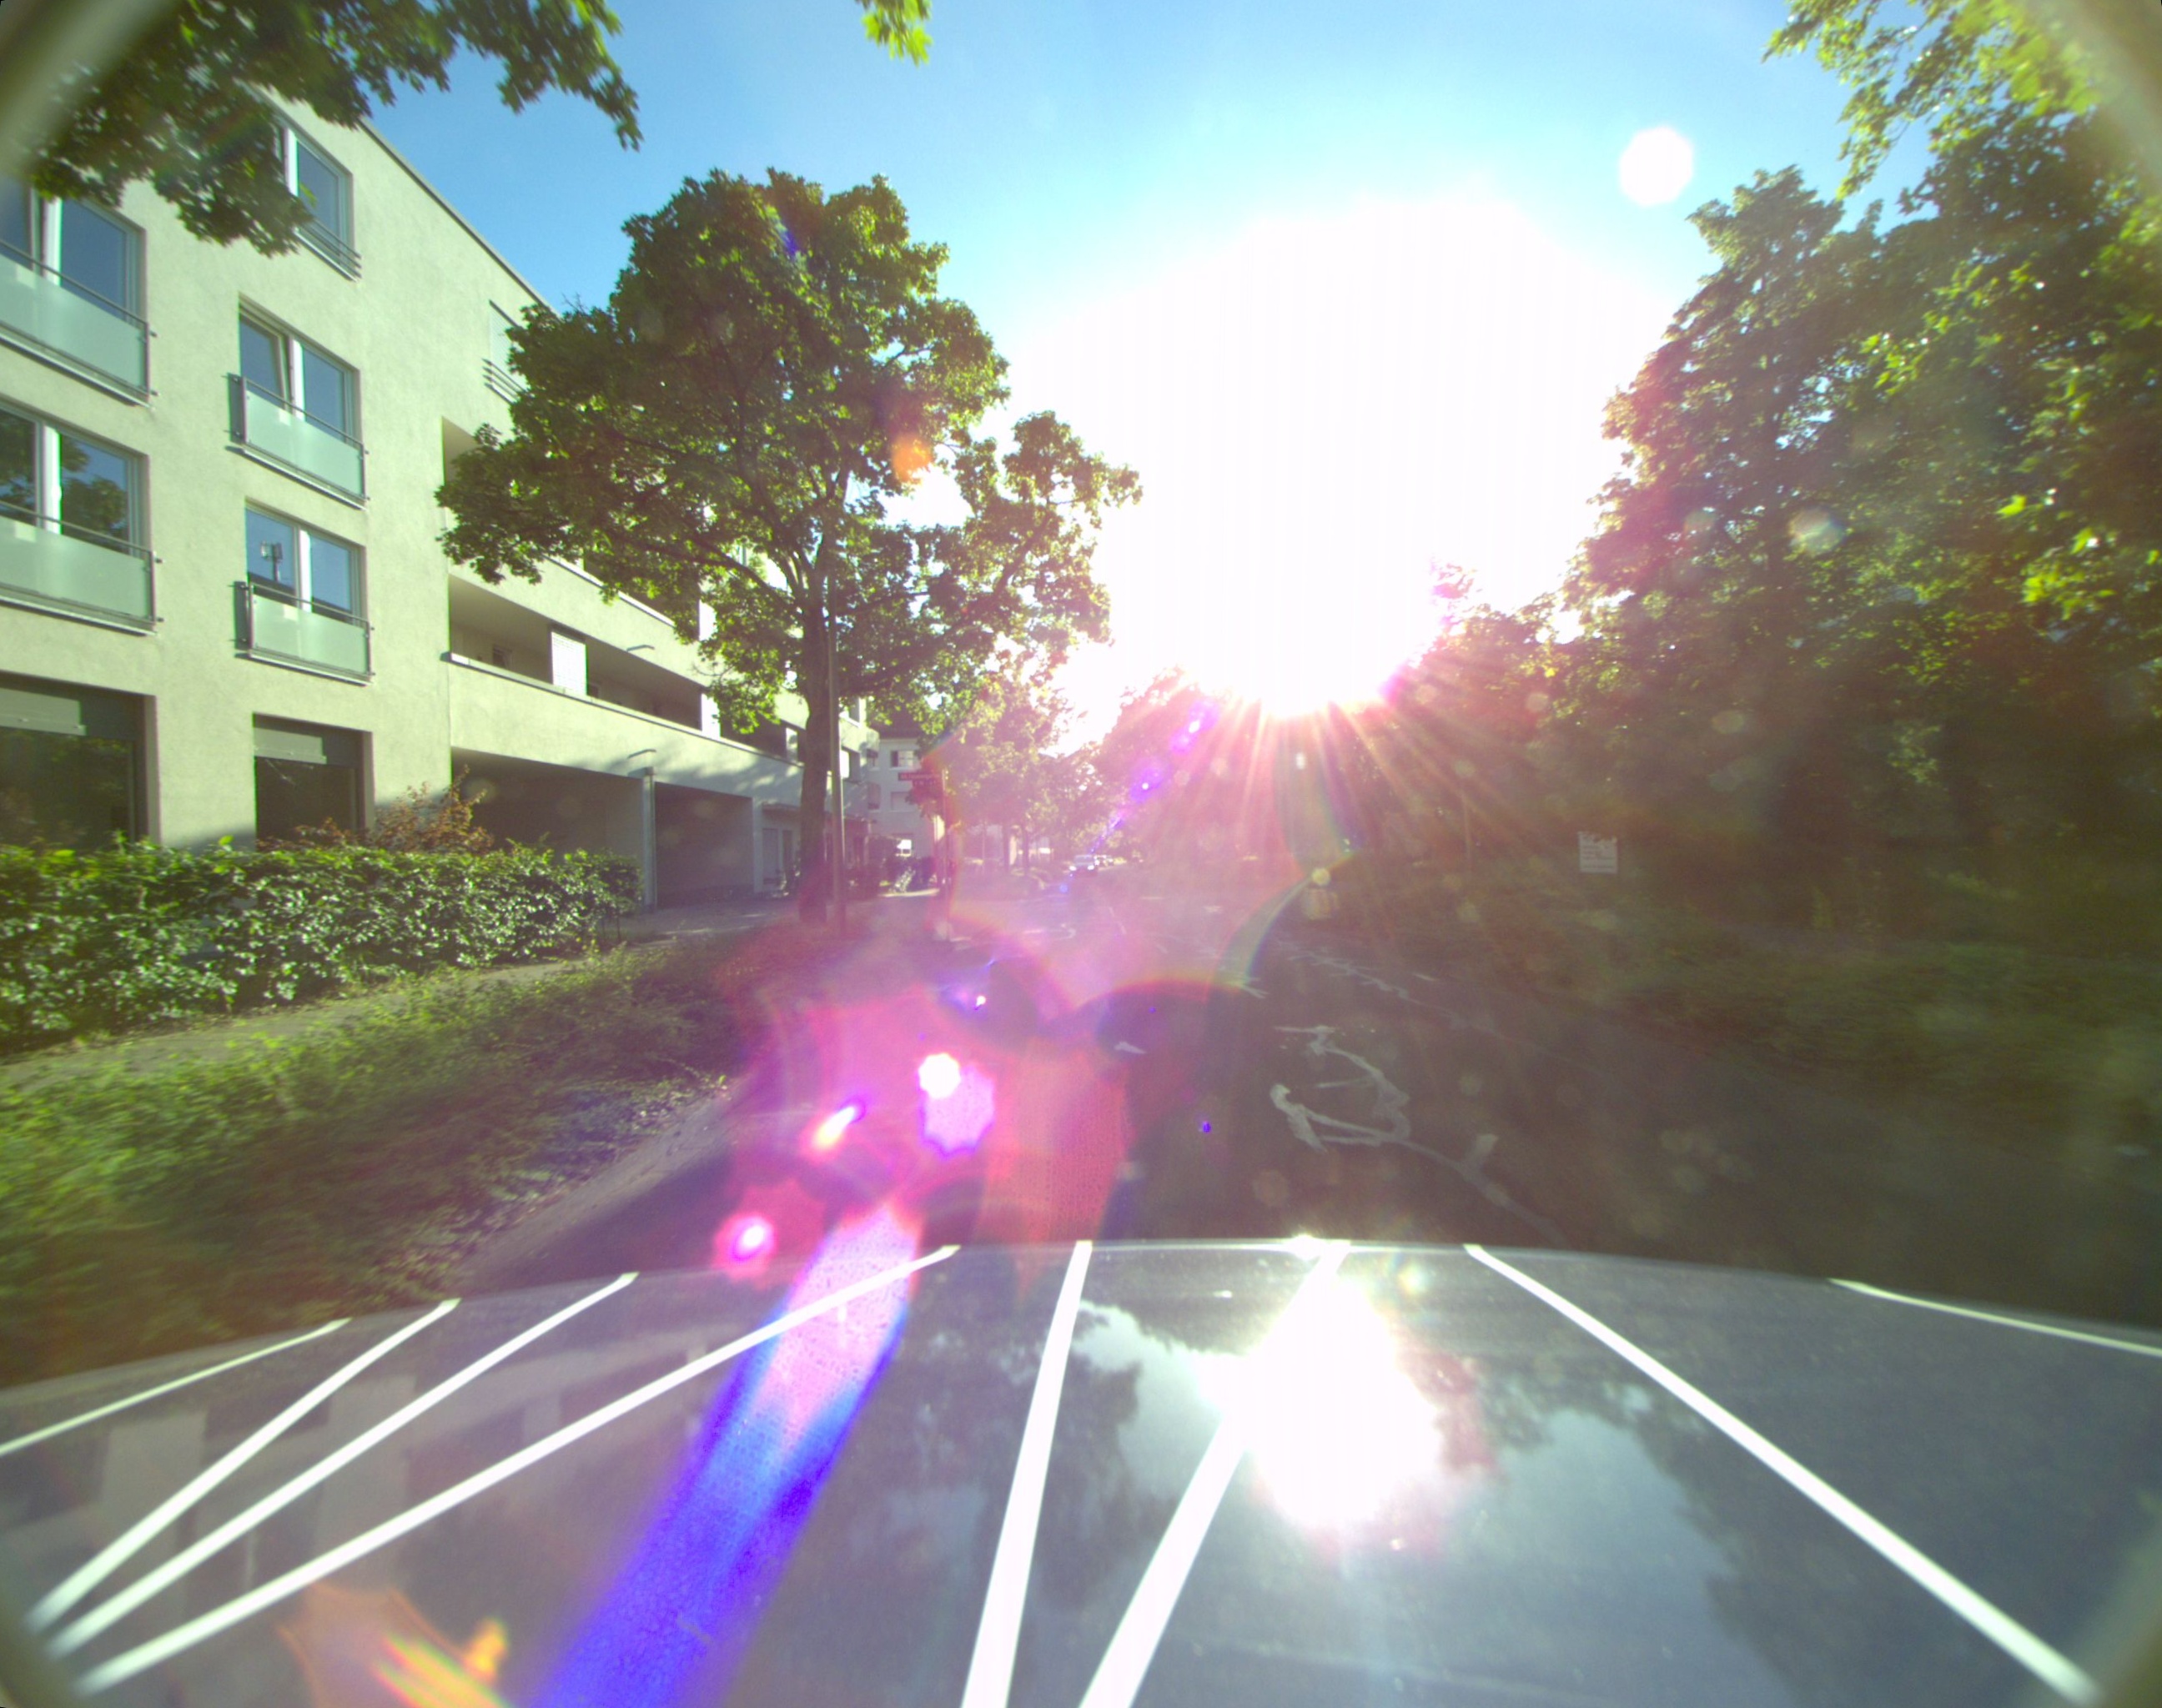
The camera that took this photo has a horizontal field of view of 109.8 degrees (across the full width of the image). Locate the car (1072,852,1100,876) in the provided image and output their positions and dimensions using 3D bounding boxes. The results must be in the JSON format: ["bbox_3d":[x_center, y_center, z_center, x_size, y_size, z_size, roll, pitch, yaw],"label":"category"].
[{"bbox_3d":[0.321,0.712,56.490,1.889,1.612,4.618,-2,0,-1],"label":"car"}]

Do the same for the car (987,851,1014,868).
[{"bbox_3d":[-7.837,0.498,74.499,1.998,1.531,4.000,-2,0,2],"label":"car"}]
